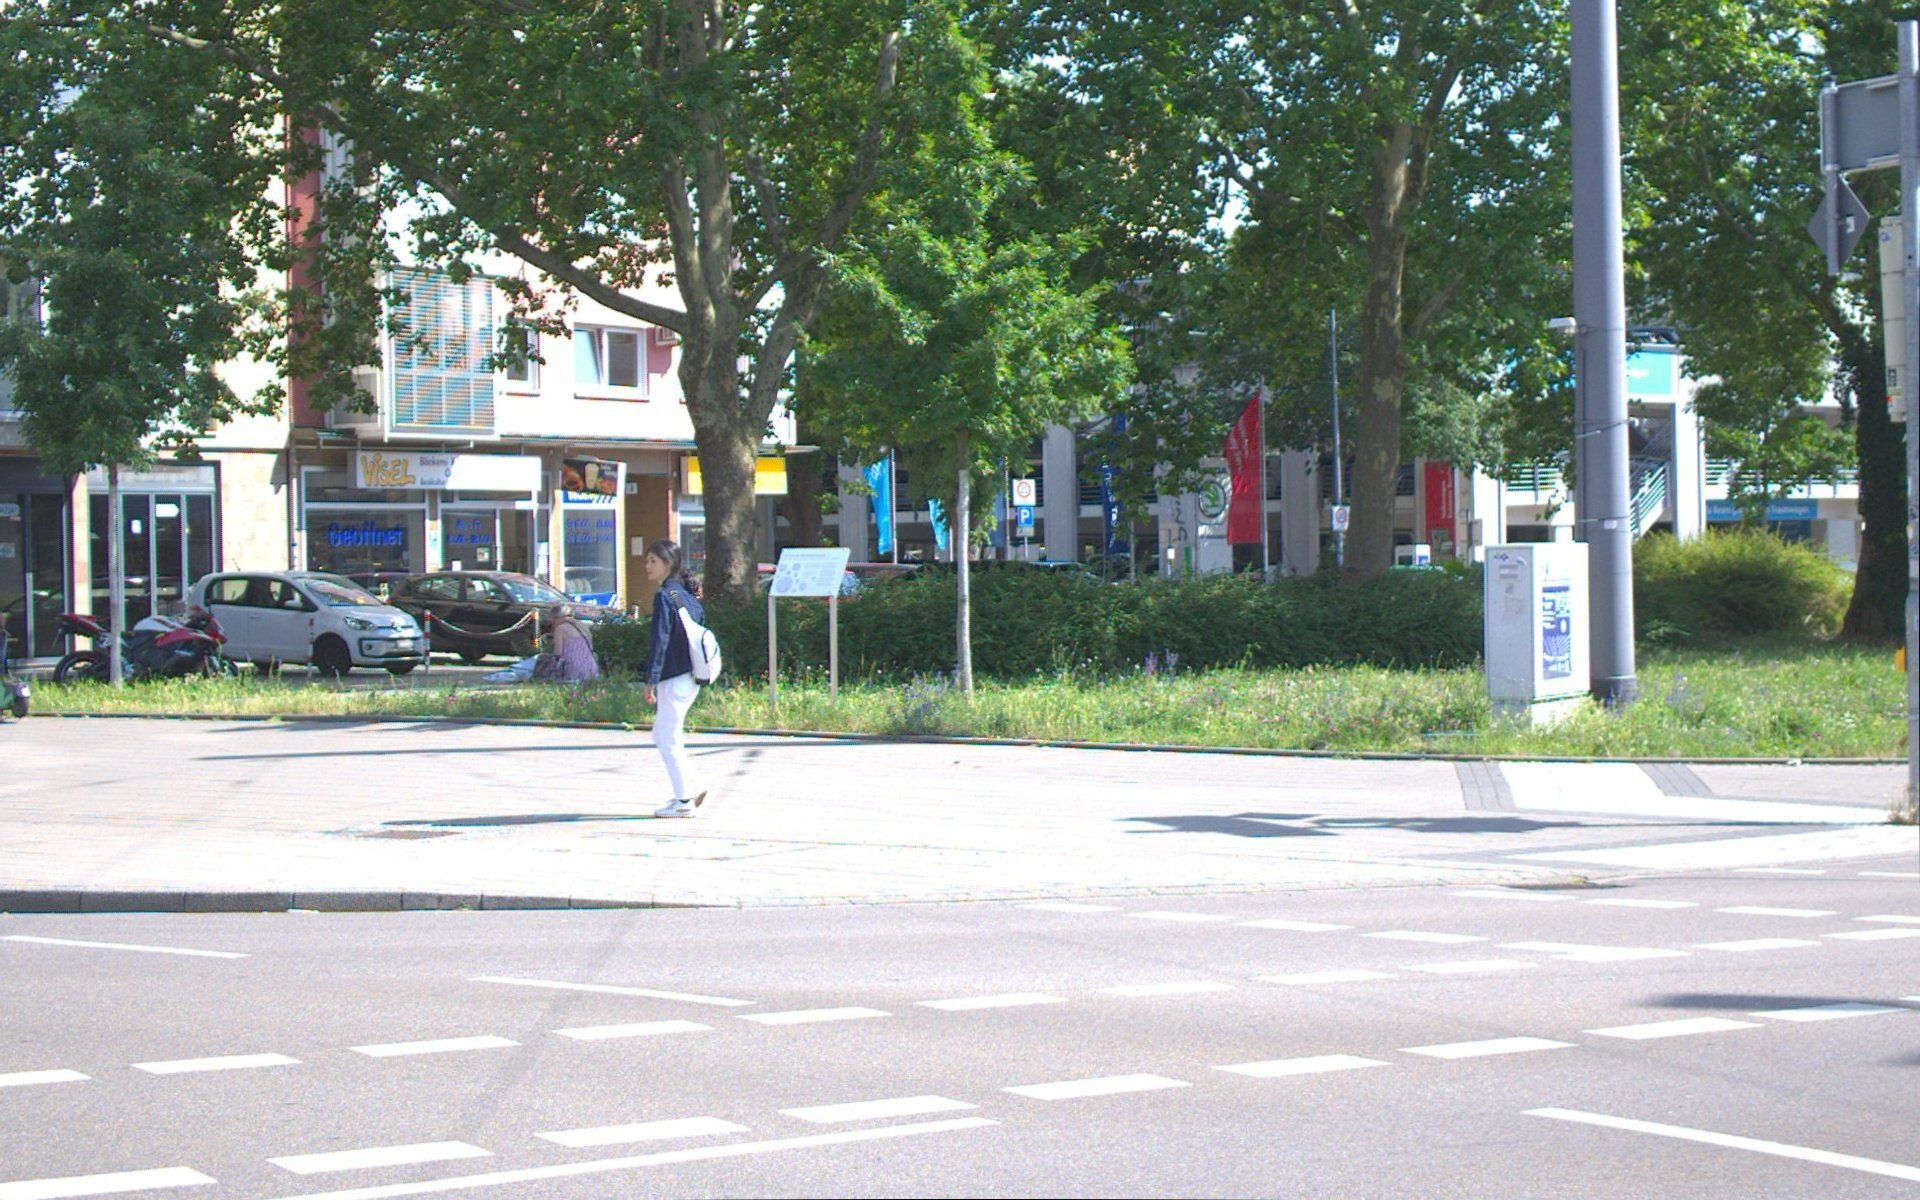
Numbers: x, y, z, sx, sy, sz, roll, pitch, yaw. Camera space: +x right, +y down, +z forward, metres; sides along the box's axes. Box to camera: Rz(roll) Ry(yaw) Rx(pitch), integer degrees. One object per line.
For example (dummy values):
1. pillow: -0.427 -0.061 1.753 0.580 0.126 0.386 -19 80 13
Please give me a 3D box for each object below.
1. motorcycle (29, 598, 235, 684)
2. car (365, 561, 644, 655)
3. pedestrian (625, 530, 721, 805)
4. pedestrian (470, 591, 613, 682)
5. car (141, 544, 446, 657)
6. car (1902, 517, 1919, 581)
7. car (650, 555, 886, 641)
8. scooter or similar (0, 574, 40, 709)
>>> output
1. motorcycle: -8.631 0.421 35.899 2.031 0.839 0.641 -1 1 -9
2. car: -6.979 0.099 52.548 3.994 1.266 1.741 2 2 30
3. pedestrian: -1.700 0.392 20.406 0.453 1.599 0.400 1 2 11
4. pedestrian: -4.262 0.369 35.029 1.174 0.889 0.821 0 1 28
5. car: -9.464 -0.018 48.767 3.994 1.435 1.888 2 2 30
6. car: 22.375 -1.038 73.210 1.995 1.366 3.998 -1 3 -44
7. car: -3.339 -0.050 59.676 3.729 1.335 1.741 2 2 30
8. scooter or similar: -8.336 0.345 29.358 0.515 1.115 1.364 -2 1 -33
